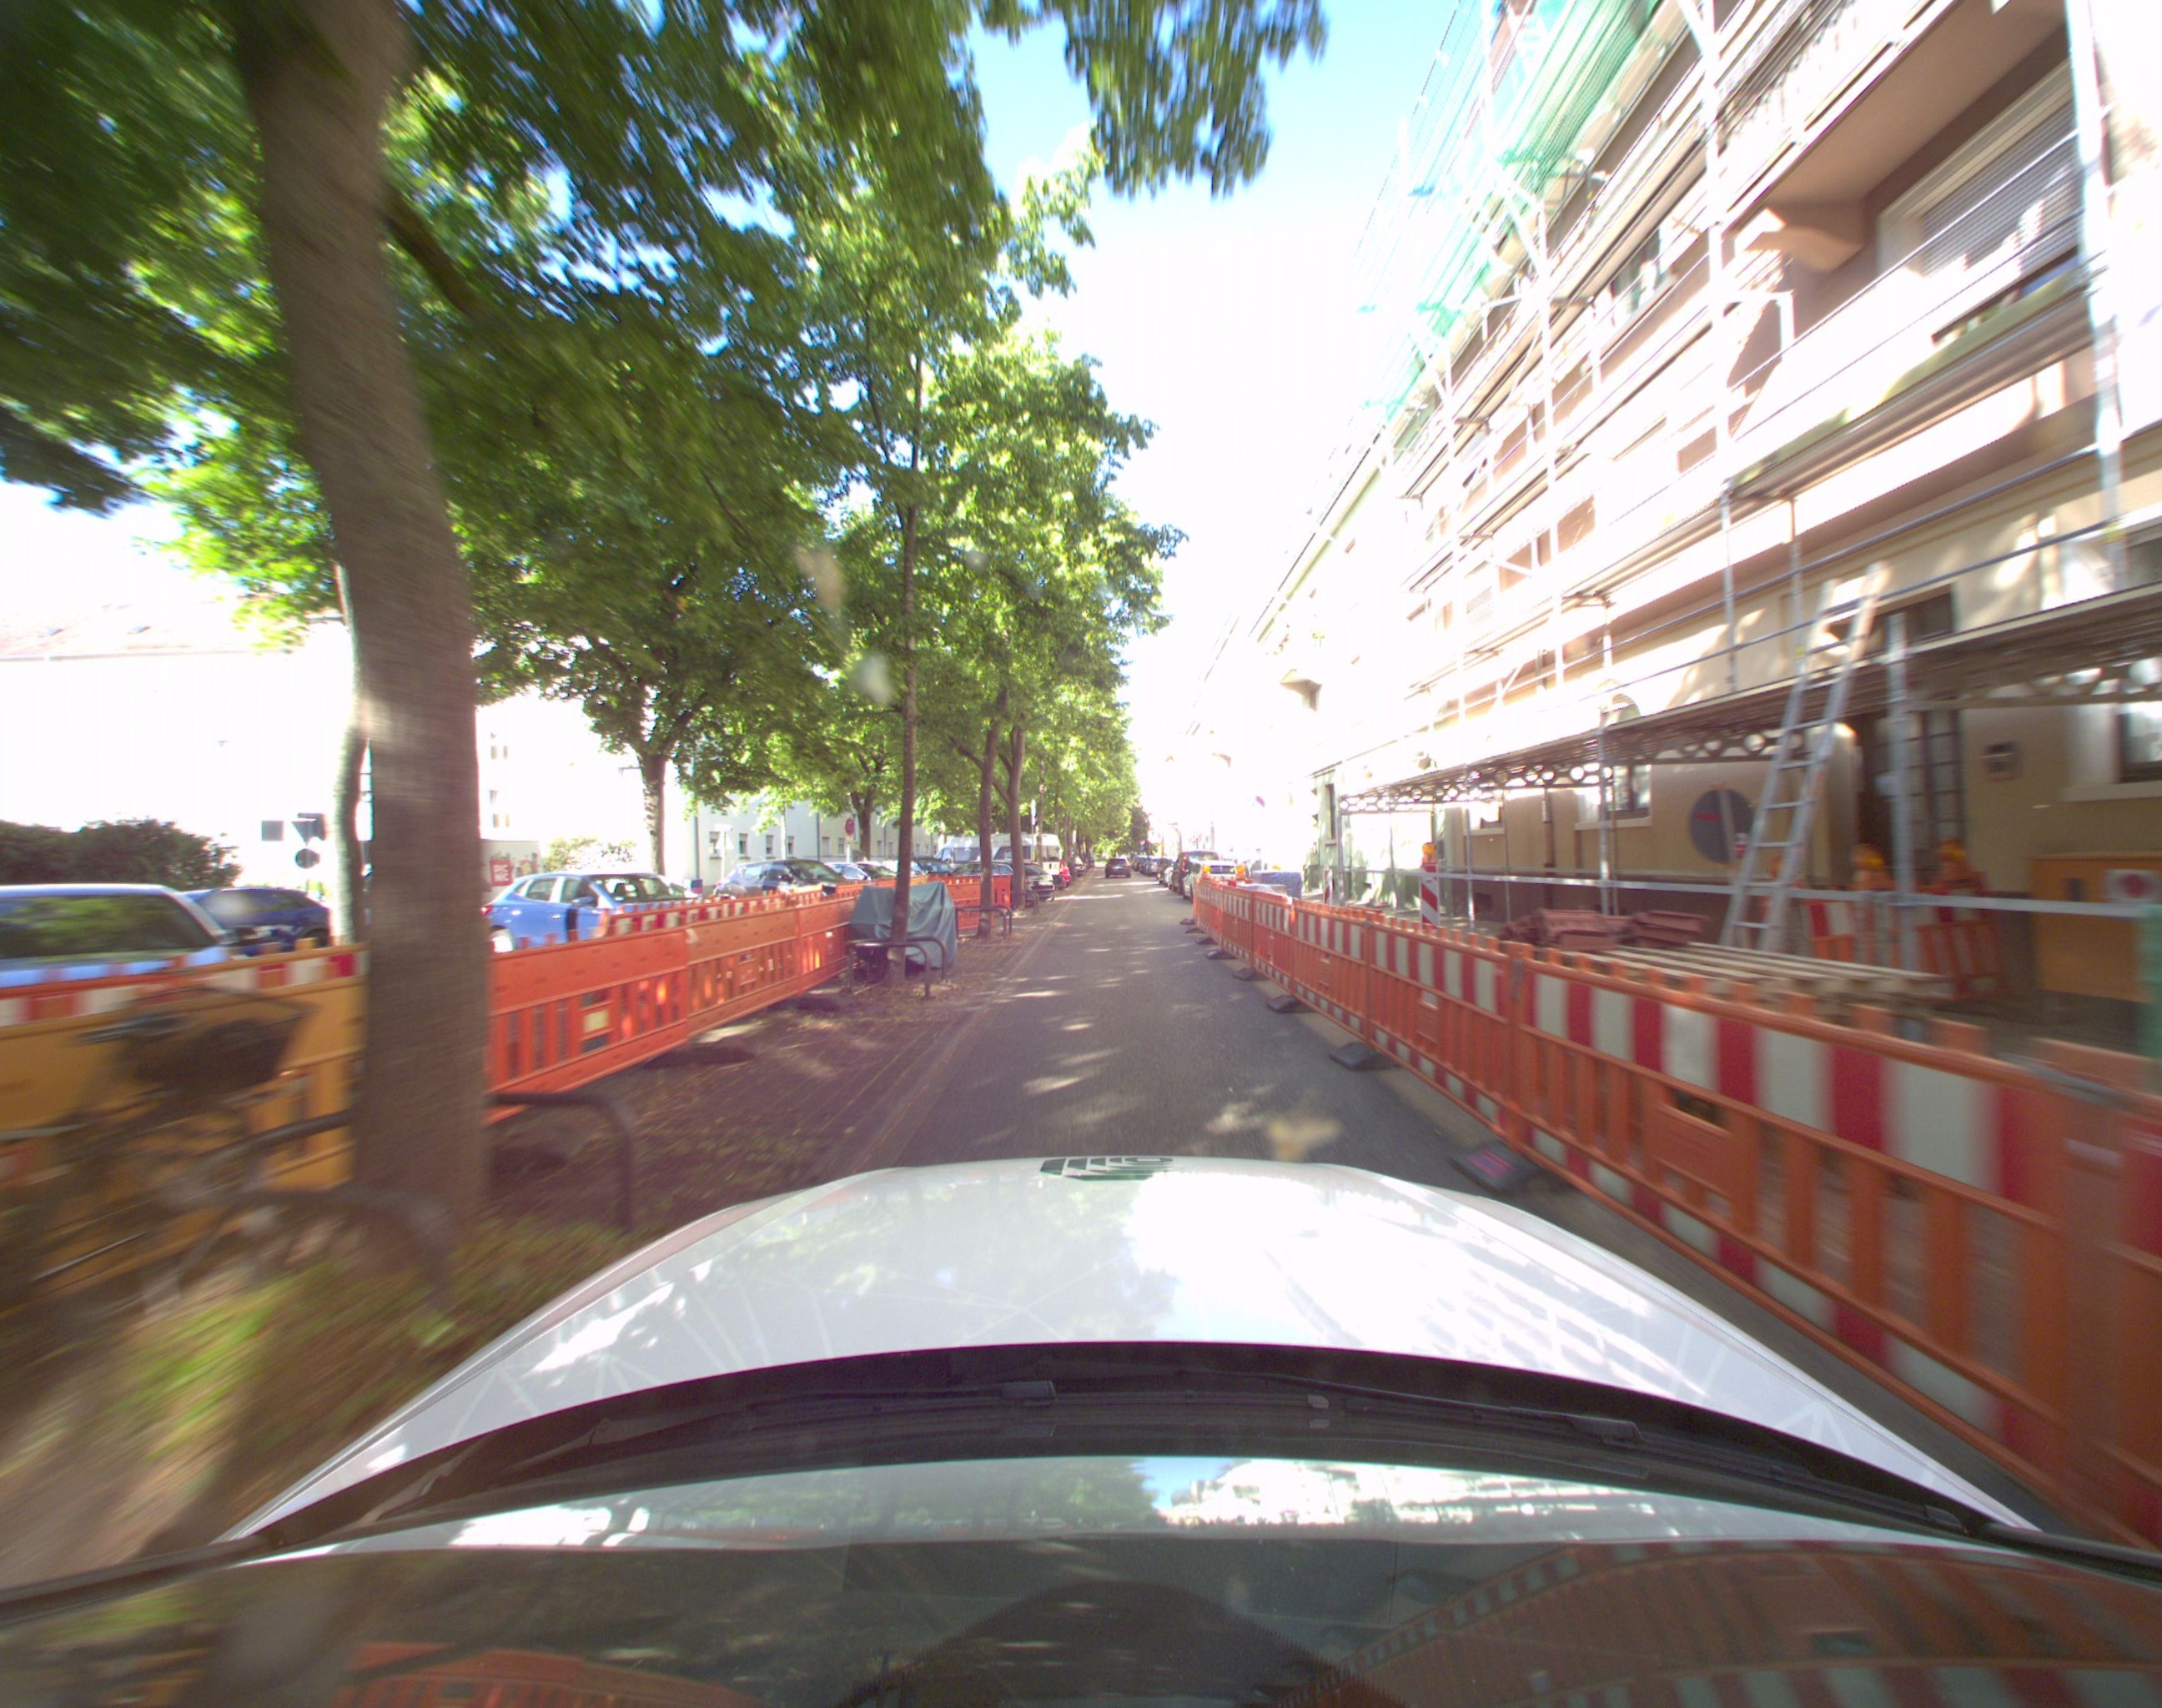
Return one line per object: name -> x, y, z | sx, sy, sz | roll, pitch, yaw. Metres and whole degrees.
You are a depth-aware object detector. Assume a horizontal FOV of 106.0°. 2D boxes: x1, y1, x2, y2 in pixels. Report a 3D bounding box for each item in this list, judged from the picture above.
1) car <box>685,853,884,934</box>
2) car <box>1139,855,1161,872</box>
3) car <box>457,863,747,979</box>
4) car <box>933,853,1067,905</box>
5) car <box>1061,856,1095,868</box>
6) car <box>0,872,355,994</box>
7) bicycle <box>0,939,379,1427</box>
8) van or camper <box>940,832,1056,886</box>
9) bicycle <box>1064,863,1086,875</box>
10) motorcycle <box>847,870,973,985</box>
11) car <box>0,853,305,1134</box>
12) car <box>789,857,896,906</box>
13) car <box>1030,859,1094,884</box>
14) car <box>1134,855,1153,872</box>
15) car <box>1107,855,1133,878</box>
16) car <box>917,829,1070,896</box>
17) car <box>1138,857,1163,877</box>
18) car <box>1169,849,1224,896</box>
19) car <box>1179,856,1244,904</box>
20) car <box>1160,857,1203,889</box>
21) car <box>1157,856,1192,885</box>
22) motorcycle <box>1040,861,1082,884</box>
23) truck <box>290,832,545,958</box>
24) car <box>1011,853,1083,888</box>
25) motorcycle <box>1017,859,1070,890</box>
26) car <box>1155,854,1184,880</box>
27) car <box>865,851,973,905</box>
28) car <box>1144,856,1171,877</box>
car -> -6.639, 0.887, 18.210 | 4.082, 1.626, 1.708 | -2, 0, 24
car -> 5.981, 0.802, 71.098 | 1.686, 1.468, 4.007 | 0, 0, 2
car -> -7.000, 0.935, 11.907 | 3.866, 1.461, 1.586 | -2, 0, 22
car -> -2.630, 0.789, 26.202 | 4.048, 1.526, 1.712 | 1, -3, 32
car -> -0.356, 1.059, 104.172 | 4.088, 1.466, 1.860 | 0, -1, -10
car -> -14.415, 1.117, 13.148 | 1.615, 1.574, 4.192 | -1, 0, 0
bicycle -> -2.891, 0.897, 2.329 | 0.279, 1.156, 1.554 | 0, -1, 6
van or camper -> -4.715, 0.279, 45.694 | 6.226, 2.825, 2.423 | 0, 0, 30
bicycle -> -0.480, 1.251, 69.199 | 1.797, 0.994, 0.428 | -2, -1, 17
motorcycle -> -2.197, 0.895, 10.806 | 0.626, 1.324, 2.238 | 0, 0, 17
car -> -7.344, 0.840, 5.926 | 3.948, 1.519, 1.681 | -3, 0, 35
car -> -7.334, 0.812, 25.070 | 2.923, 1.453, 1.250 | 0, 0, 18
car -> -1.279, 1.159, 53.184 | 3.968, 1.474, 1.637 | -3, 0, 37
car -> 6.203, 0.892, 81.143 | 1.797, 1.563, 4.324 | -2, 0, 3
car -> 2.841, 0.873, 58.677 | 1.707, 1.483, 4.148 | -2, 0, 3
car -> -3.694, 0.387, 33.713 | 6.246, 2.559, 2.353 | -1, -1, 34
car -> 5.639, 1.044, 66.216 | 1.760, 1.551, 4.185 | -2, 0, 2
car -> 4.797, 0.748, 34.389 | 1.765, 1.794, 3.990 | -2, 0, 1
car -> 4.521, 0.869, 28.745 | 1.698, 1.511, 4.286 | -2, 0, 2
car -> 4.867, 0.903, 40.048 | 1.601, 1.420, 4.569 | -2, 0, 1
car -> 5.209, 0.882, 45.691 | 1.593, 1.492, 3.967 | -2, 0, 1
motorcycle -> -1.099, 1.014, 44.418 | 2.134, 1.230, 0.884 | -1, 0, 10
truck -> -14.457, 0.809, 18.140 | 1.913, 2.409, 4.268 | -2, 0, 4
car -> -1.746, 0.861, 40.807 | 1.672, 1.618, 3.836 | -2, 0, -38
motorcycle -> -1.688, 0.908, 36.635 | 2.317, 1.335, 0.966 | 0, 0, -8
car -> 5.500, 0.815, 51.161 | 1.574, 1.551, 4.045 | -1, 0, 3
car -> -6.373, 0.915, 31.733 | 2.012, 1.915, 4.330 | -1, -1, -45
car -> 5.686, 0.933, 61.146 | 1.763, 1.431, 4.293 | -2, 0, 2
